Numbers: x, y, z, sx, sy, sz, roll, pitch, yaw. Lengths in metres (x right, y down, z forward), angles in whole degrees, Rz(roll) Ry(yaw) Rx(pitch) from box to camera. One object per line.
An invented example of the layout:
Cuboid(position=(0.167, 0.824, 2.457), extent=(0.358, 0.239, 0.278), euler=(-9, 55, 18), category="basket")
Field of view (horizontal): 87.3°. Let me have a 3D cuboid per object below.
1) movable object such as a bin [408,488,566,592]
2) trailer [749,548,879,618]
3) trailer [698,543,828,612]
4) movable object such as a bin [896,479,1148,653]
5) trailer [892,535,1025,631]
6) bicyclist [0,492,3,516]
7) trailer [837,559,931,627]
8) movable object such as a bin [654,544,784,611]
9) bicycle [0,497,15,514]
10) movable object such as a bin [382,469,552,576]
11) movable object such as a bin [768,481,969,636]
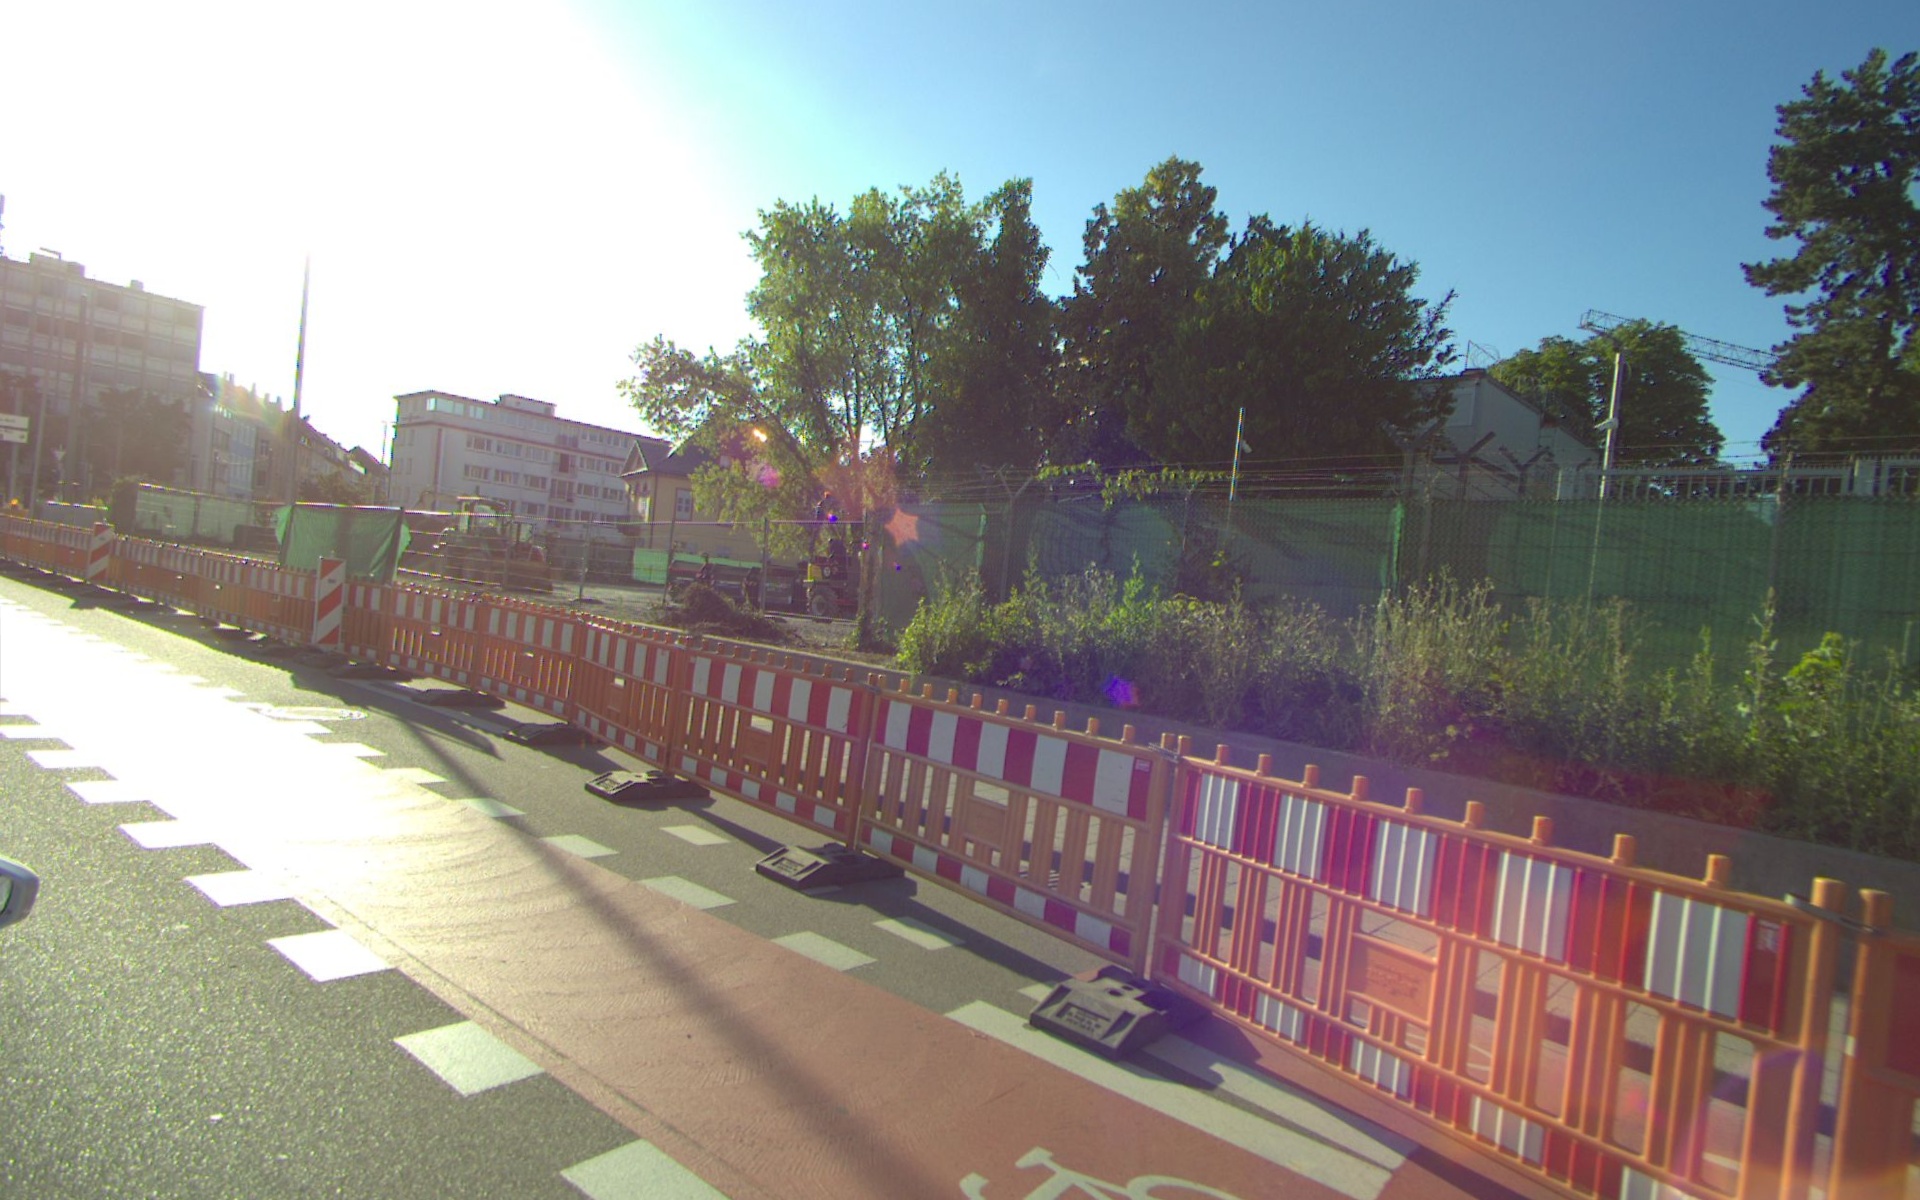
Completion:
Cuboid(position=(-14.788, -1.903, 31.353), extent=(4.867, 2.738, 2.274), euler=(6, 1, 37), category="movable object such as a bin")
Cuboid(position=(-5.595, -0.568, 39.132), extent=(2.190, 2.350, 5.032), euler=(0, -3, 33), category="trailer")
Cuboid(position=(-7.775, -0.803, 40.163), extent=(2.190, 2.350, 5.032), euler=(0, -3, 33), category="trailer")
Cuboid(position=(1.337, -0.875, 23.863), extent=(5.422, 3.603, 2.271), euler=(7, 1, 42), category="movable object such as a bin")
Cuboid(position=(-0.051, -0.537, 35.987), extent=(3.926, 3.127, 2.610), euler=(0, -2, 34), category="trailer")
Cuboid(position=(-72.066, -7.184, 74.947), extent=(0.644, 1.775, 0.898), euler=(7, 2, 32), category="bicyclist")
Cuboid(position=(-2.850, -0.228, 38.184), extent=(2.190, 2.350, 2.947), euler=(0, -2, 33), category="trailer")
Cuboid(position=(-9.799, -0.829, 41.360), extent=(2.190, 2.350, 5.032), euler=(0, -3, 33), category="movable object such as a bin")
Cuboid(position=(-72.022, -7.137, 75.030), extent=(0.647, 1.151, 2.095), euler=(7, 1, 32), category="bicycle")
Cuboid(position=(-20.721, -3.164, 42.468), extent=(6.008, 3.603, 2.841), euler=(6, 1, -28), category="movable object such as a bin")
Cuboid(position=(-2.046, -0.940, 21.734), extent=(3.947, 2.941, 1.988), euler=(7, 1, 44), category="movable object such as a bin")
